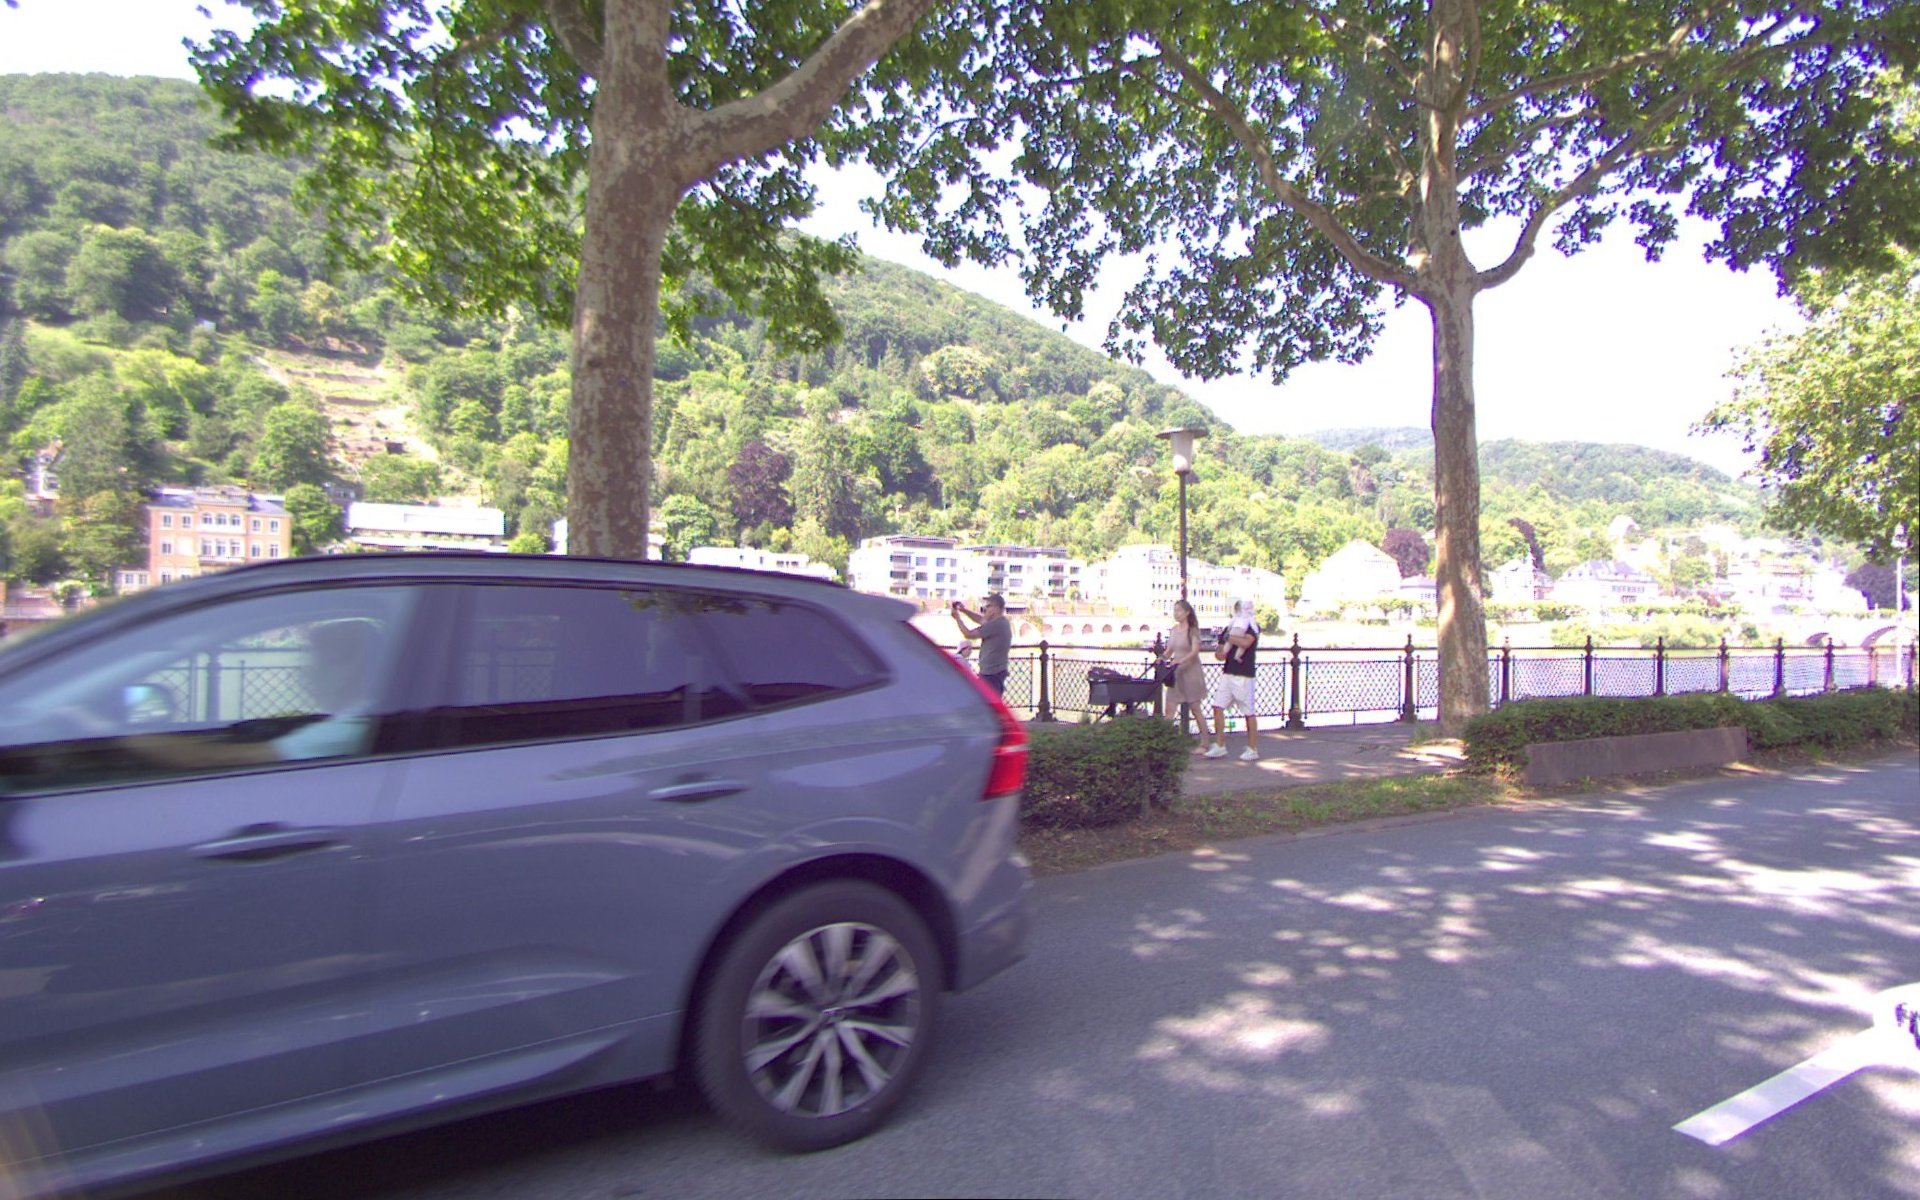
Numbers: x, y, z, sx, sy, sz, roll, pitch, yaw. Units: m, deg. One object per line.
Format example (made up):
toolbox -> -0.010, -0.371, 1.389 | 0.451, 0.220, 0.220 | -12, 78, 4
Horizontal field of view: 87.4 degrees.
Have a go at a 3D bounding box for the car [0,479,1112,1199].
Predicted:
car -> -1.783, 0.692, 2.926 | 4.210, 1.720, 1.868 | 2, -3, -31

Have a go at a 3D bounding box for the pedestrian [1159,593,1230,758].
pedestrian -> 2.637, 0.837, 11.313 | 0.585, 1.791, 0.514 | 1, -2, -30

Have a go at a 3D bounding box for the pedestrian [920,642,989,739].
pedestrian -> -0.070, 1.142, 12.907 | 0.687, 1.193, 0.607 | 1, -2, -29

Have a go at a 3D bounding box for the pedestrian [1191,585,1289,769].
pedestrian -> 3.012, 0.810, 10.818 | 0.796, 1.894, 0.638 | 1, -2, -30

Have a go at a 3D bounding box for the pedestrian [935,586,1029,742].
pedestrian -> 0.258, 0.732, 11.693 | 0.864, 1.740, 0.689 | 1, -2, -32
